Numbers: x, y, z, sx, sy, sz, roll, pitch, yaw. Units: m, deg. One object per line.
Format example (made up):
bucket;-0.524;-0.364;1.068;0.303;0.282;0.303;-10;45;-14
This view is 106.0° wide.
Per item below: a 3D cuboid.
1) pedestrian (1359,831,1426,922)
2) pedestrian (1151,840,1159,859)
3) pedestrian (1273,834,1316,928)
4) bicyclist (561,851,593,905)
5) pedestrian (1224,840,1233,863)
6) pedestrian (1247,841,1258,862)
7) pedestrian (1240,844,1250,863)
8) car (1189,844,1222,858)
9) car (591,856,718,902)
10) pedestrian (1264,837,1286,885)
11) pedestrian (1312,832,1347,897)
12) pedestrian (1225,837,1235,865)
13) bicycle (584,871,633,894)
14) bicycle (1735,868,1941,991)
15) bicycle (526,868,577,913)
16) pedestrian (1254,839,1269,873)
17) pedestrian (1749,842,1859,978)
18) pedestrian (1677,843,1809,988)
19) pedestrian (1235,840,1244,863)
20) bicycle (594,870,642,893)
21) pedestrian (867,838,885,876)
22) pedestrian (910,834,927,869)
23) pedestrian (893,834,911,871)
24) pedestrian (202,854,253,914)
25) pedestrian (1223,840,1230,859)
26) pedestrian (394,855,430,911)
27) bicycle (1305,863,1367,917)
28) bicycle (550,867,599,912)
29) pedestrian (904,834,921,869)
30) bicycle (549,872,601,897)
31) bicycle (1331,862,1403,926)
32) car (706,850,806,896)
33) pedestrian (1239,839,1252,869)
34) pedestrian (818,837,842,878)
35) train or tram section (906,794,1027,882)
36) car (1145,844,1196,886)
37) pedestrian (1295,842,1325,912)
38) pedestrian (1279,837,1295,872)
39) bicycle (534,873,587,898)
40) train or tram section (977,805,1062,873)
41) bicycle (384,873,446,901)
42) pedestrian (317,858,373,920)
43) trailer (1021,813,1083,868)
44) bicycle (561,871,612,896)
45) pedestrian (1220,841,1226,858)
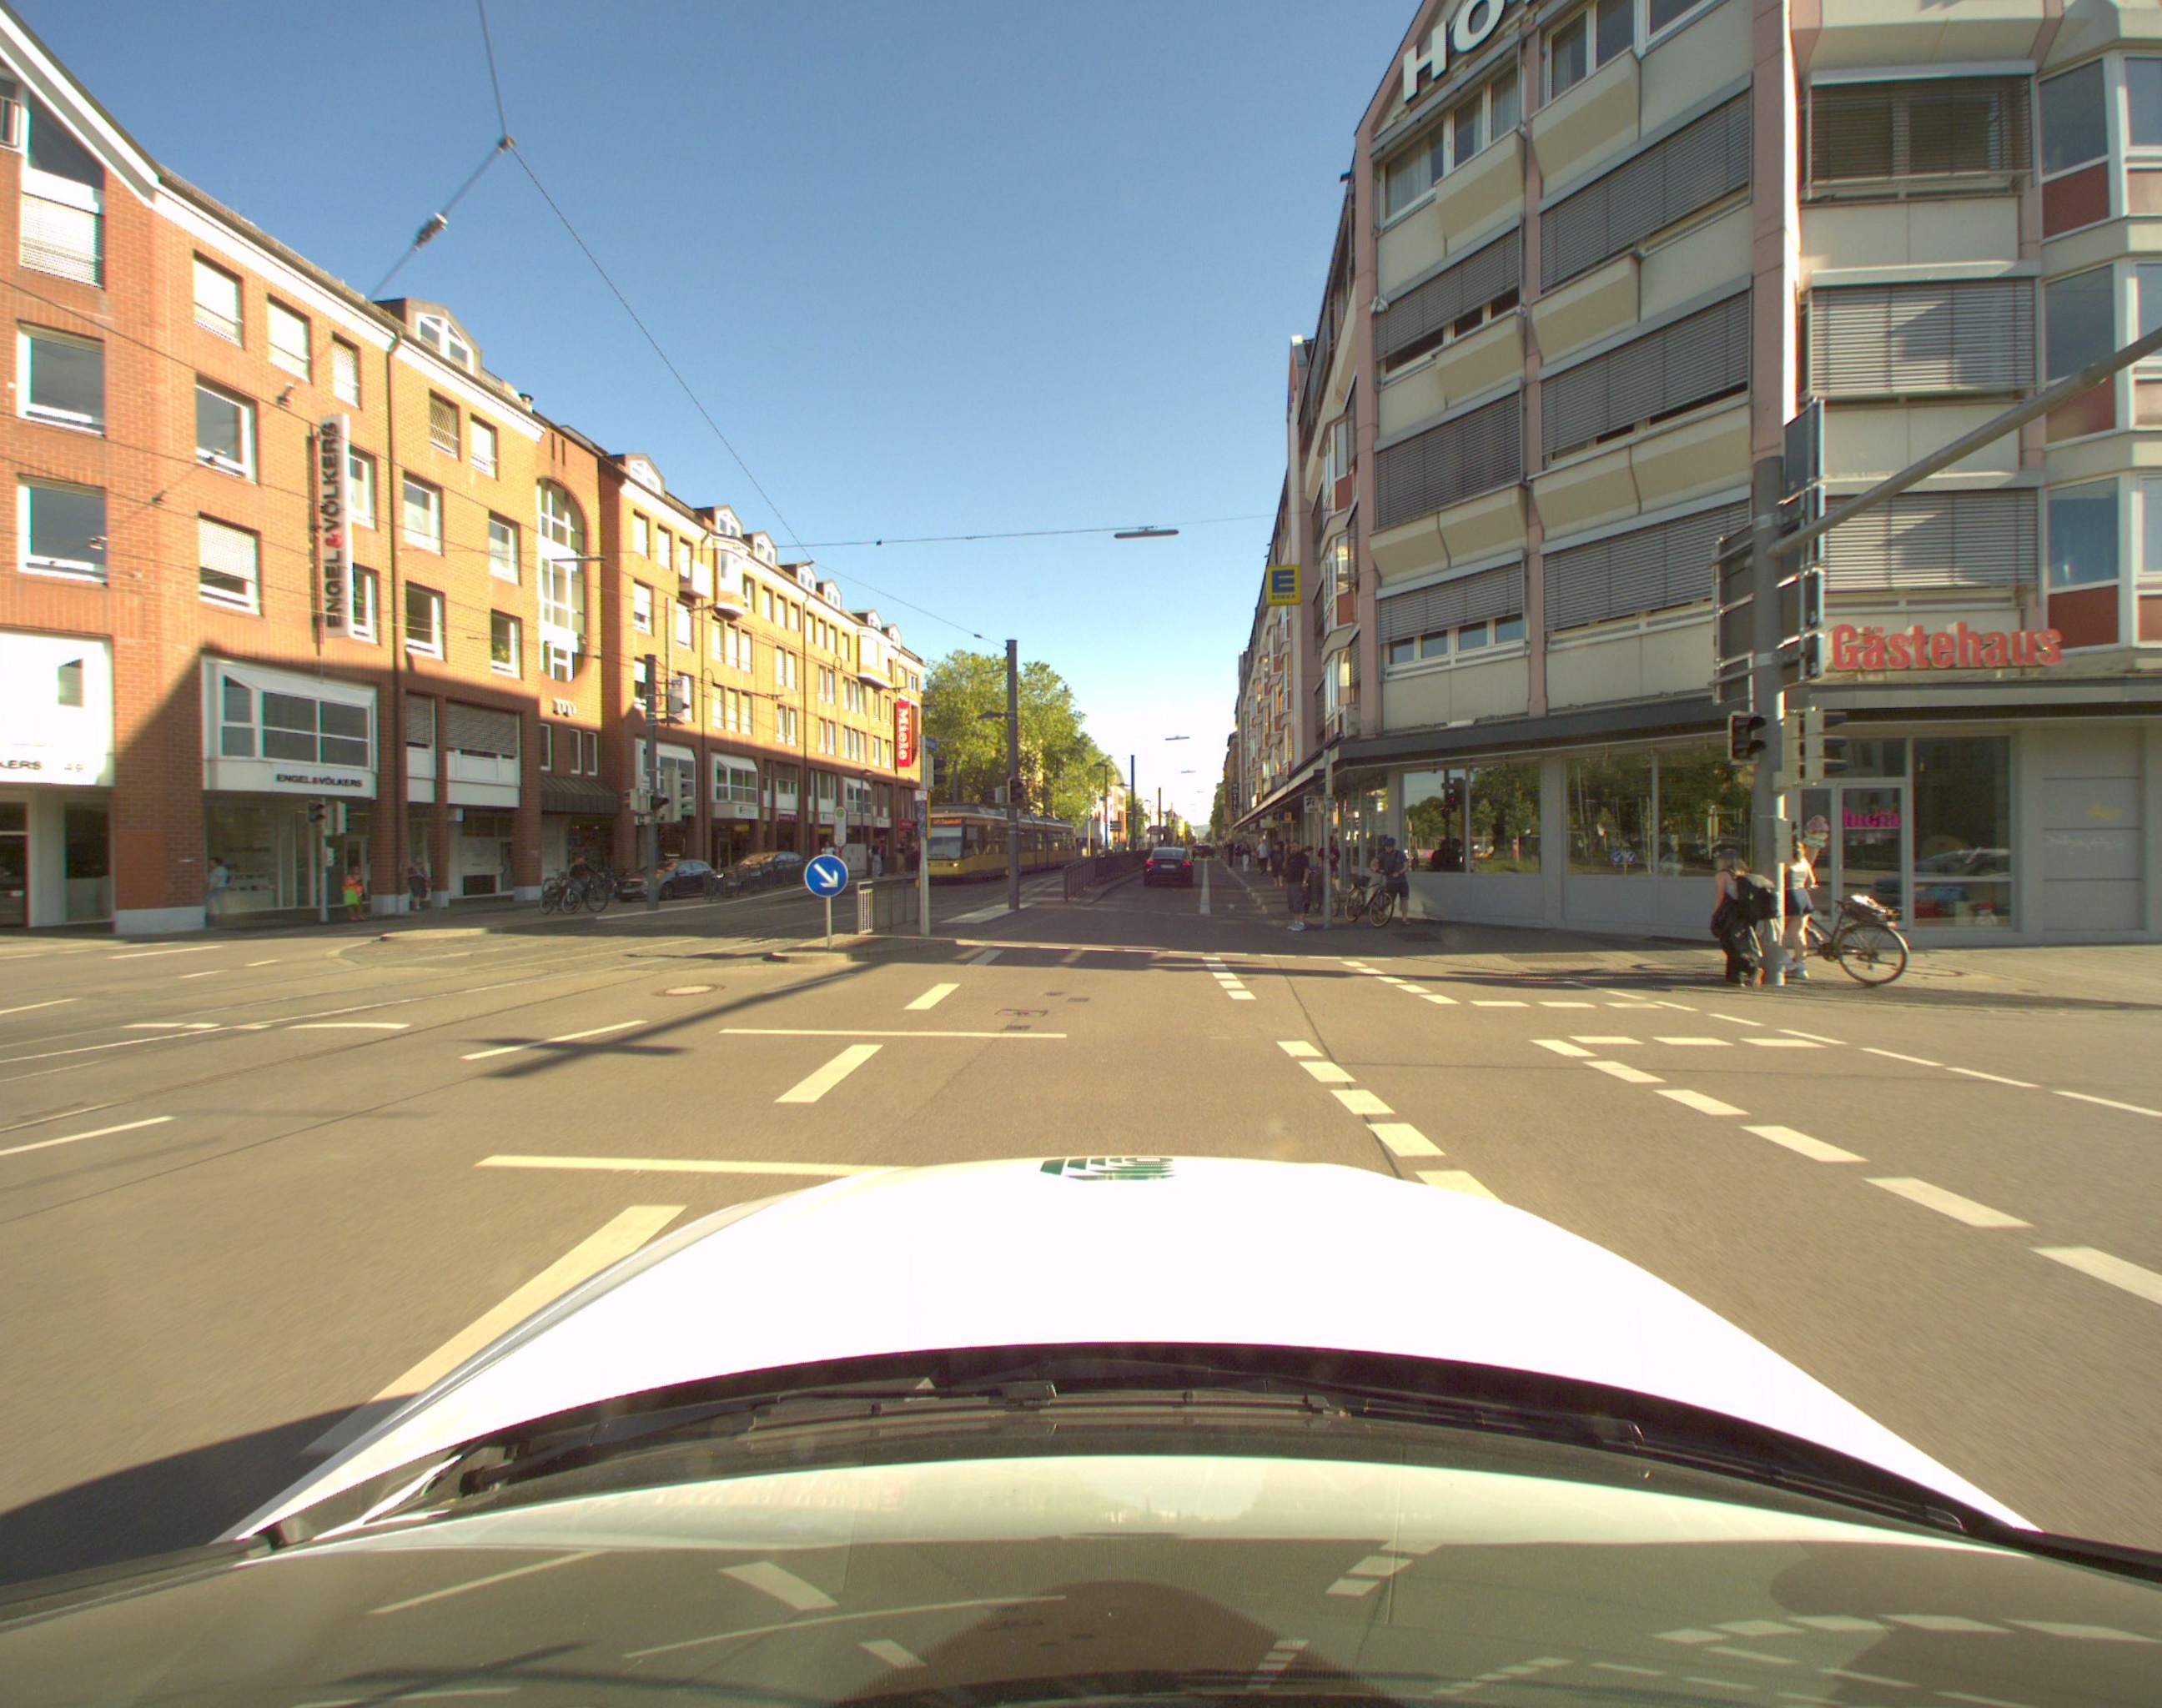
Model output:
pedestrian;6.185;0.426;16.193;0.840;1.754;0.911;0;0;-23
pedestrian;6.784;-0.422;74.708;0.753;1.769;0.700;0;0;7
pedestrian;4.190;0.510;16.021;0.624;1.782;0.917;0;0;0
bicyclist;-13.882;0.653;22.415;0.710;1.470;0.486;0;0;33
pedestrian;11.931;-0.202;65.968;0.692;1.896;0.752;0;0;9
pedestrian;14.087;-0.224;67.043;0.837;1.756;0.789;0;0;9
pedestrian;13.781;-0.031;68.472;0.837;1.607;0.789;0;0;9
car;15.296;-0.388;100.378;3.692;1.664;1.739;0;0;-7
car;-15.169;0.846;29.226;1.805;1.454;3.991;-2;0;12
pedestrian;6.801;0.241;28.517;0.692;1.677;0.752;0;0;9
pedestrian;6.506;0.261;21.356;0.685;1.688;0.670;0;0;-6
pedestrian;10.327;-0.226;56.497;0.692;1.896;0.752;0;0;9
bicycle;-18.793;1.115;32.373;1.701;0.900;0.522;0;0;7
bicycle;8.992;0.831;9.792;0.543;1.284;1.902;0;0;-8
bicycle;-14.296;0.968;21.982;1.694;1.158;0.495;0;0;33
pedestrian;8.960;0.102;40.436;0.692;1.677;0.752;0;0;9
pedestrian;8.674;0.641;9.798;0.525;1.554;0.866;0;0;-6
pedestrian;7.641;0.675;9.443;0.778;1.576;0.866;0;2;-4
pedestrian;12.827;-0.205;65.906;0.692;1.896;0.752;0;0;9
bicycle;-18.714;1.117;32.935;1.701;0.900;0.522;0;0;7
pedestrian;-8.298;0.117;33.037;0.582;1.531;0.637;0;0;-3
pedestrian;-8.116;-0.120;40.695;0.630;1.721;0.612;0;0;17
pedestrian;-8.320;-0.062;37.884;0.632;1.721;0.586;0;0;7
pedestrian;-23.040;0.788;21.979;0.875;1.568;0.869;0;0;39
pedestrian;14.726;-0.474;82.386;0.692;1.896;0.752;0;0;9
pedestrian;-20.171;0.868;24.561;0.618;1.671;0.552;0;0;5
bicycle;5.718;0.771;18.411;0.488;1.102;2.119;0;0;-8
bicycle;-13.996;0.963;22.488;1.661;1.158;0.495;0;0;33
pedestrian;-8.299;-0.123;40.096;0.630;1.721;0.588;0;0;17
bicycle;-18.997;1.141;30.570;1.701;0.900;0.522;0;0;7
bicycle;5.640;0.760;16.185;0.488;1.161;1.968;0;0;-9
car;-12.017;0.653;30.356;1.808;1.544;3.799;-2;0;6
pedestrian;9.161;-0.005;45.309;0.692;1.677;0.752;0;0;9
pedestrian;-9.650;0.138;31.312;0.630;1.564;0.588;0;0;21
train or tram section;-4.938;-0.689;37.701;2.713;3.542;10.112;0;1;9
car;3.432;0.372;31.325;1.781;1.450;3.946;1;1;6
pedestrian;5.192;0.513;18.452;0.471;1.562;0.543;0;0;-11
pedestrian;10.152;0.020;40.171;0.743;1.677;0.701;0;0;9
bicycle;-19.097;1.150;29.883;1.701;0.900;0.522;0;0;7
train or tram section;-3.362;-0.814;47.711;2.698;3.546;10.194;0;1;9
bicycle;-22.730;1.125;27.790;1.750;0.900;0.587;0;0;7
pedestrian;-19.757;0.925;21.866;0.708;1.594;0.779;3;1;8
trailer;-1.869;-0.929;57.367;2.698;3.546;9.382;0;1;9
bicycle;-18.923;1.127;31.184;1.701;0.900;0.522;0;0;7
pedestrian;16.250;-0.526;92.953;0.692;1.896;0.752;0;0;9
